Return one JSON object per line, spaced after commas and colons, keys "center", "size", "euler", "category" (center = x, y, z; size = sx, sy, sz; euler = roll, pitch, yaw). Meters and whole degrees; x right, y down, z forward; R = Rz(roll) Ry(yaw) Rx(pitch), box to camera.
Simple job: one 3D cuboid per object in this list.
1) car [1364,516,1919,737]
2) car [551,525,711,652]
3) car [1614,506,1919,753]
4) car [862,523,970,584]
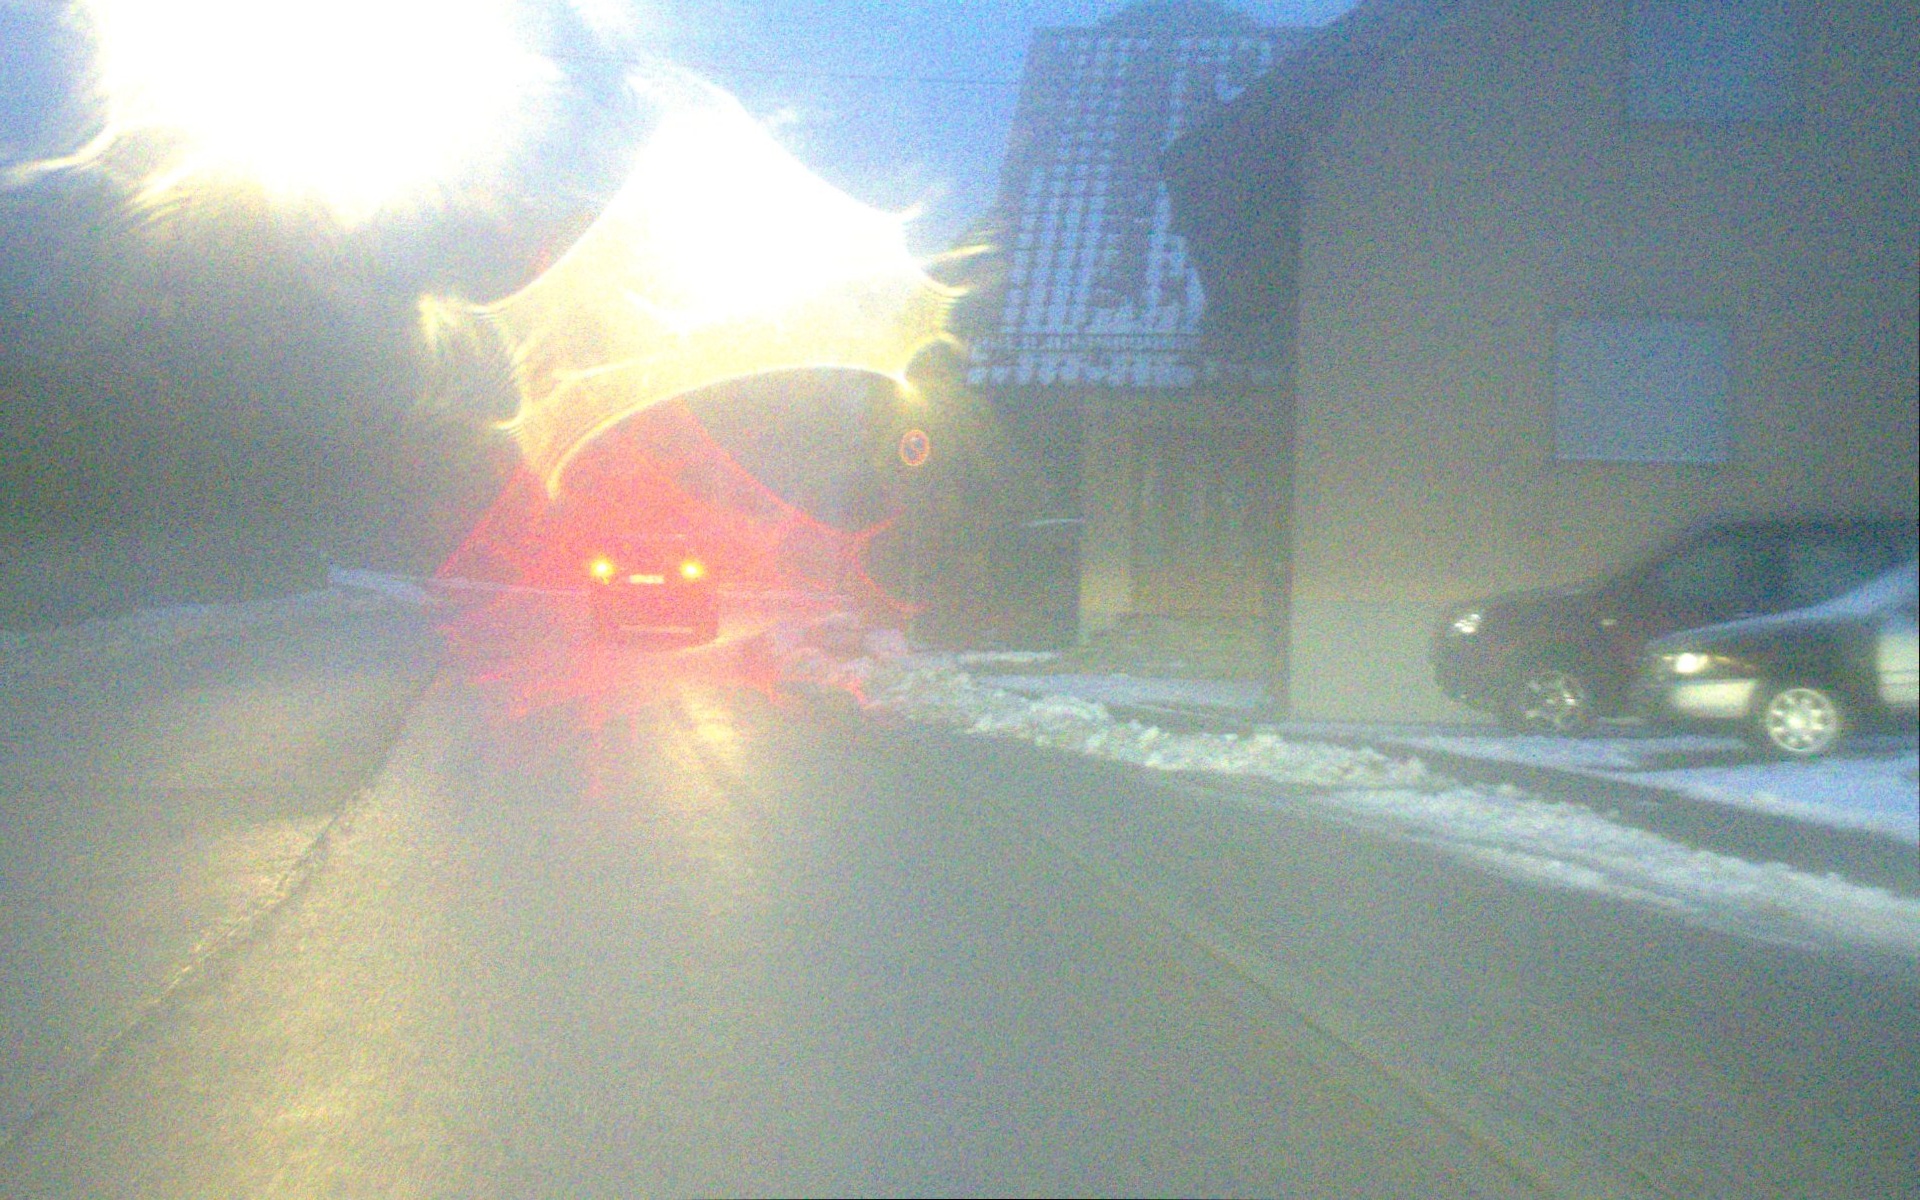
{"center": [5.180, 0.226, 25.736], "size": [4.159, 1.554, 1.945], "euler": [-1, -2, 4], "category": "car"}
{"center": [-4.920, -0.139, 50.989], "size": [1.993, 1.731, 3.879], "euler": [0, -2, -11], "category": "car"}
{"center": [6.533, 0.211, 22.747], "size": [4.244, 1.554, 1.999], "euler": [-1, -2, 9], "category": "car"}
{"center": [-1.205, -1.281, 95.512], "size": [1.995, 1.645, 3.997], "euler": [0, 0, 15], "category": "car"}
